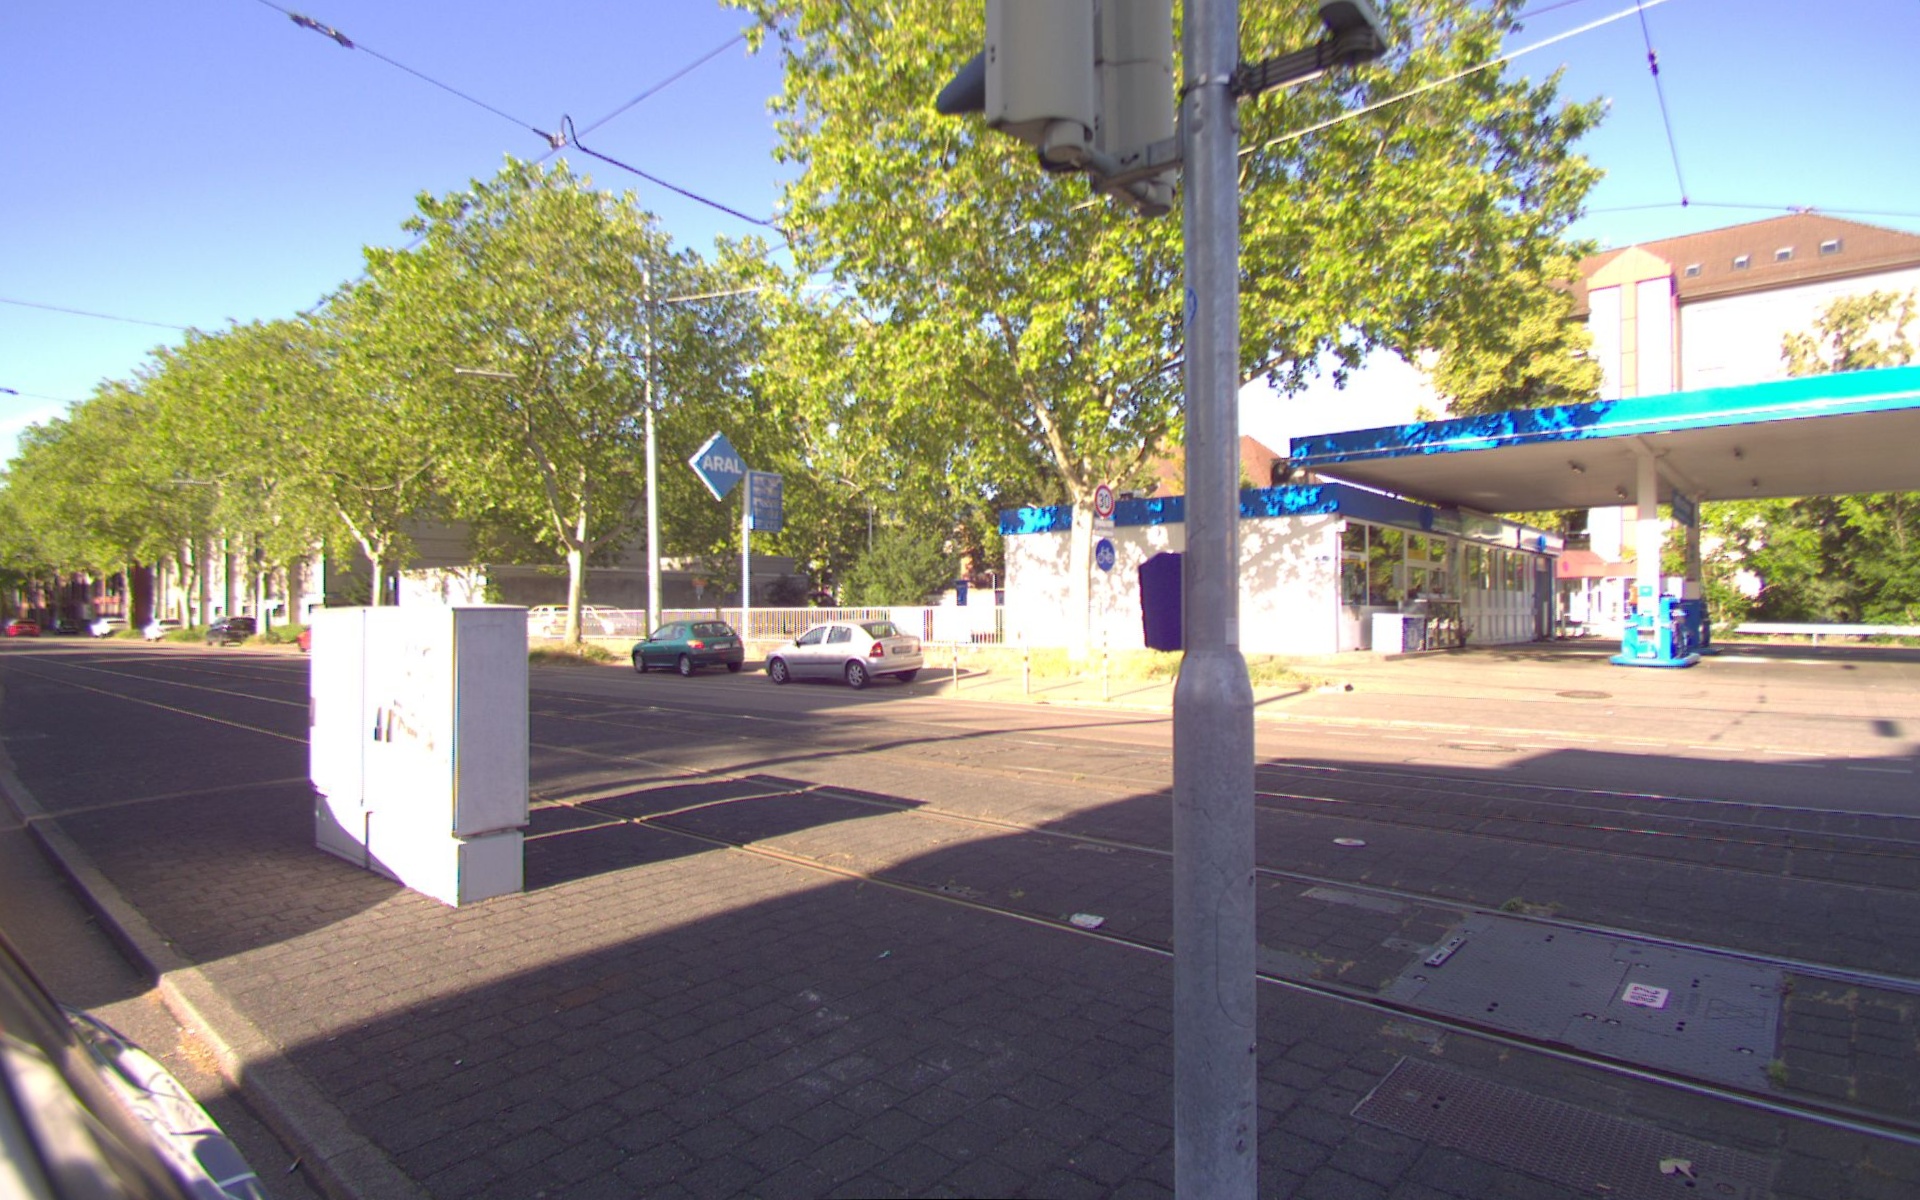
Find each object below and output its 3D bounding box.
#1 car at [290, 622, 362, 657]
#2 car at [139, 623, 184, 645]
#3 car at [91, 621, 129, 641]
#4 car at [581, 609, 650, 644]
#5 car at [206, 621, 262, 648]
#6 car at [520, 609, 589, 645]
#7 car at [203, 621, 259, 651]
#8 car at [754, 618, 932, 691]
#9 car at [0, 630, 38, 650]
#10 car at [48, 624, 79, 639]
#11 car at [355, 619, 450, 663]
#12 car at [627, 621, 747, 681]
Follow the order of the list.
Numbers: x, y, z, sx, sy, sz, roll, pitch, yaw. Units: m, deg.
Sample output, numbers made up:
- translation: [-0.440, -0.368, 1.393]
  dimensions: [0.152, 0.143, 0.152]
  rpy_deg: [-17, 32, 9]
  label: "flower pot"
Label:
- translation: [-28.990, 1.773, 46.247]
  dimensions: [3.998, 1.480, 1.678]
  rpy_deg: [0, -1, 41]
  label: "car"
- translation: [-53.813, 2.290, 68.189]
  dimensions: [3.998, 1.420, 1.678]
  rpy_deg: [-1, -2, 41]
  label: "car"
- translation: [-66.816, 2.414, 79.535]
  dimensions: [3.998, 1.569, 1.678]
  rpy_deg: [-1, -2, 41]
  label: "car"
- translation: [-14.867, 1.099, 43.623]
  dimensions: [3.151, 1.431, 1.525]
  rpy_deg: [-1, 0, 44]
  label: "car"
- translation: [-40.602, 1.888, 56.566]
  dimensions: [3.998, 1.420, 1.678]
  rpy_deg: [-1, -2, 41]
  label: "car"
- translation: [-16.845, 1.097, 41.977]
  dimensions: [3.151, 1.431, 1.525]
  rpy_deg: [-1, 0, 44]
  label: "car"
- translation: [-40.738, 1.981, 56.525]
  dimensions: [3.998, 1.587, 1.678]
  rpy_deg: [-1, -2, 41]
  label: "car"
- translation: [-2.673, 1.152, 22.598]
  dimensions: [3.998, 1.431, 1.709]
  rpy_deg: [-1, 0, 41]
  label: "car"
- translation: [-74.762, 3.172, 80.151]
  dimensions: [4.761, 1.534, 1.887]
  rpy_deg: [-1, -2, 40]
  label: "car"
- translation: [-85.188, 2.973, 96.150]
  dimensions: [3.998, 1.420, 1.678]
  rpy_deg: [-1, -2, 41]
  label: "car"
- translation: [-22.182, 1.588, 40.187]
  dimensions: [4.431, 1.534, 1.731]
  rpy_deg: [-1, 3, 40]
  label: "car"
- translation: [-7.260, 1.302, 26.794]
  dimensions: [3.253, 1.431, 1.526]
  rpy_deg: [-1, 0, 41]
  label: "car"
